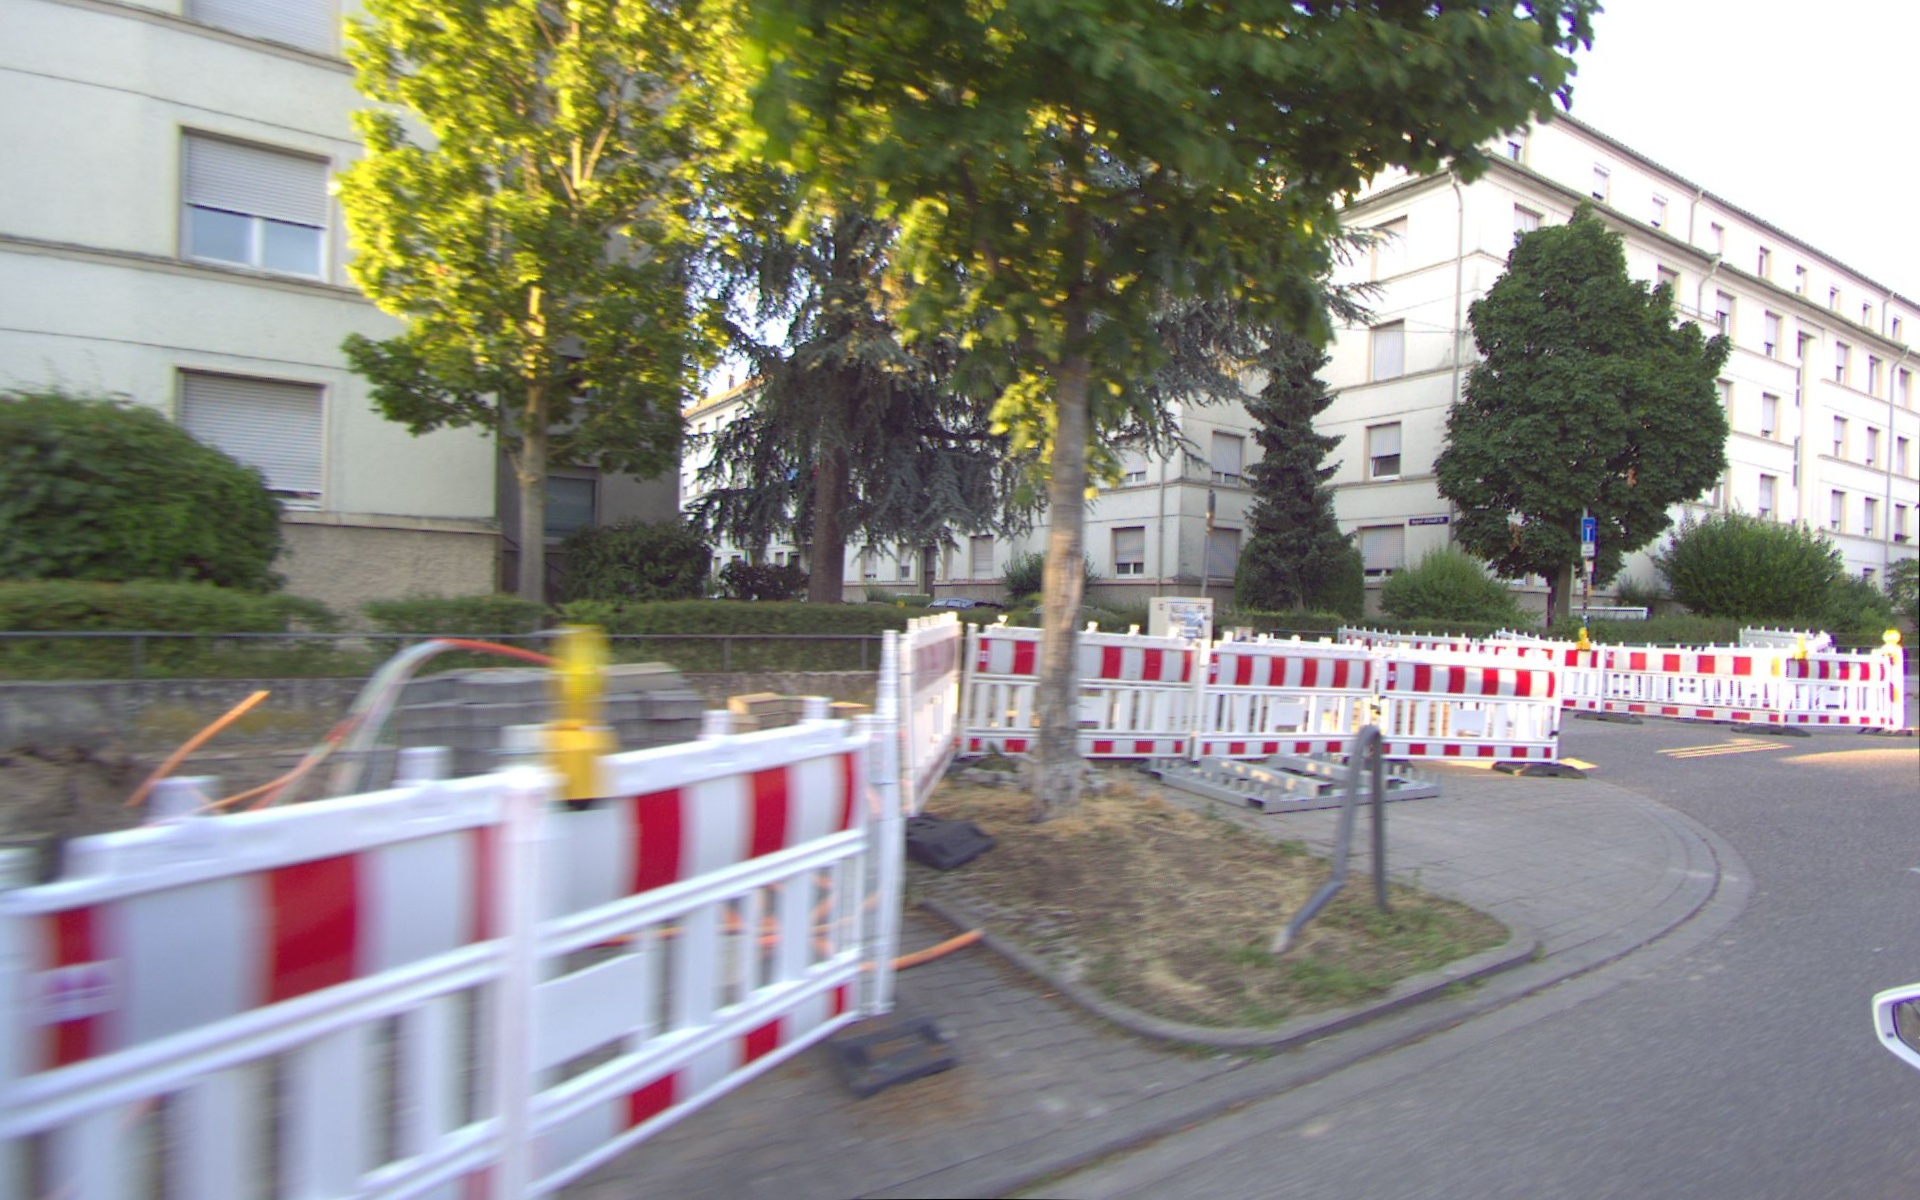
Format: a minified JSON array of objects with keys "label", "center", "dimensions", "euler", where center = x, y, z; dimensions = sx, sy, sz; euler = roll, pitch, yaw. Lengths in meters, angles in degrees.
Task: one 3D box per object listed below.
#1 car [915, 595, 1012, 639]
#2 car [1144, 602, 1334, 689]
[{"label":"car","center":[0.067,0.479,30.066],"dimensions":[1.422,1.196,3.087],"euler":[1,1,-34]},{"label":"car","center":[5.917,0.909,21.646],"dimensions":[1.744,1.611,3.682],"euler":[1,1,-34]}]
